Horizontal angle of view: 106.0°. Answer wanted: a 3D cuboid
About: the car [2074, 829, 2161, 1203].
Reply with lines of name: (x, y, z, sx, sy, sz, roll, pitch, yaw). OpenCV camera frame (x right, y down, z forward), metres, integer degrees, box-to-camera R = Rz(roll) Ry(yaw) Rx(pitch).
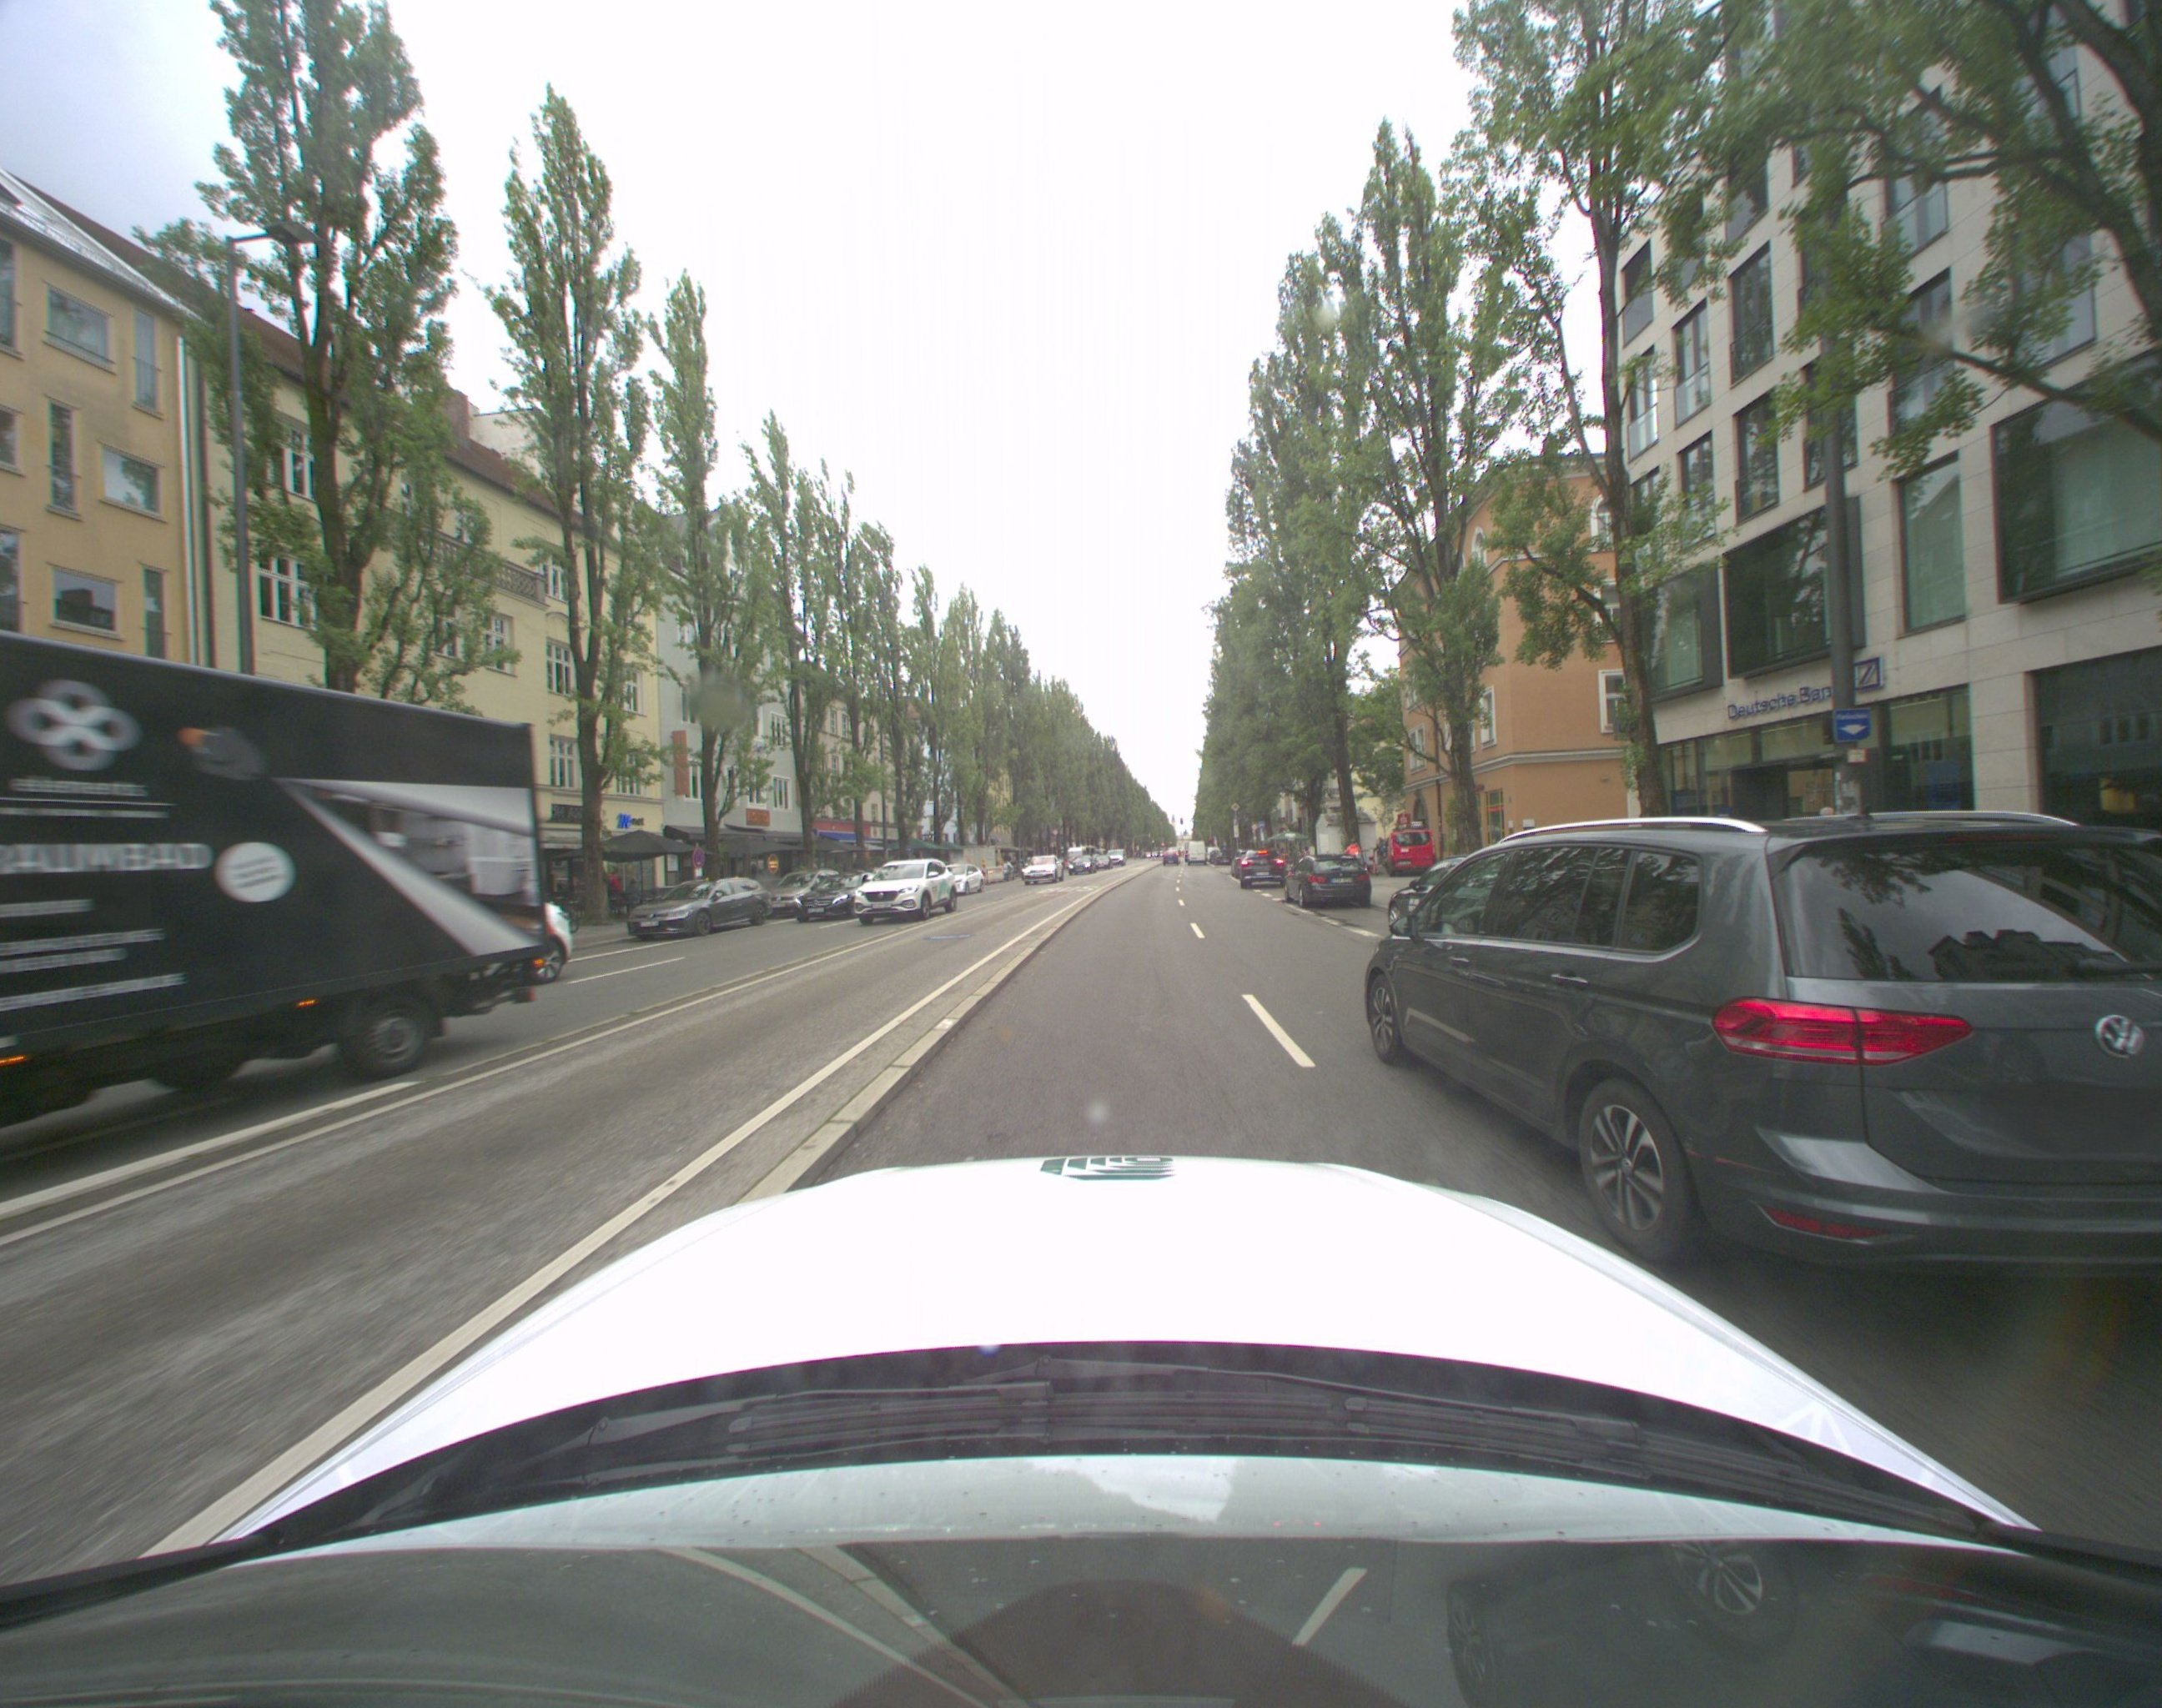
car: (5.106, 0.617, 1.085, 1.803, 1.500, 4.810, -3, 0, 3)

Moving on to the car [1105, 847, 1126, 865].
car: (4.033, 0.227, 94.758, 1.983, 1.934, 4.927, -4, -1, 7)

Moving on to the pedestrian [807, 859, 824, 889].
pedestrian: (-15.812, 1.180, 48.532, 0.635, 1.700, 0.649, -3, 0, 7)

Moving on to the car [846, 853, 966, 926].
car: (-4.834, 0.918, 23.205, 1.850, 1.711, 4.545, -4, 0, 7)

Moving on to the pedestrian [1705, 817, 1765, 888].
pedestrian: (15.557, -0.043, 19.396, 0.731, 1.621, 0.840, -3, 0, 9)

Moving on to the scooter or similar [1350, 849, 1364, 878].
scooter or similar: (12.491, 0.425, 36.851, 0.520, 1.232, 1.484, -5, -1, 20)

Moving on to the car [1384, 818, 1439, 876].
car: (14.631, -0.334, 36.283, 1.885, 2.328, 4.848, -3, 0, 19)

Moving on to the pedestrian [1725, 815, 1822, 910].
pedestrian: (12.163, 0.143, 14.331, 0.832, 1.576, 0.938, -3, 0, -1)

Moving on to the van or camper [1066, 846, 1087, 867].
van or camper: (-0.500, 0.266, 99.343, 1.983, 2.458, 4.259, -2, 0, 7)

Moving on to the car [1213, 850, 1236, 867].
car: (13.873, 0.429, 78.977, 1.934, 1.467, 4.007, -3, 0, 6)

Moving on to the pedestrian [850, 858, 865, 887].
pedestrian: (-14.695, 1.209, 53.533, 0.635, 1.862, 0.649, -3, 0, 7)

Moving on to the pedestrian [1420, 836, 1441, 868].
pedestrian: (18.451, -0.100, 43.008, 0.816, 1.613, 0.781, -3, 0, 9)

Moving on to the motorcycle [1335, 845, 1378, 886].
motorcycle: (9.956, 0.406, 29.500, 0.823, 1.370, 2.255, -3, 0, 3)

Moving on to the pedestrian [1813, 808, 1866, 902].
pedestrian: (13.568, 0.011, 14.579, 0.544, 1.638, 0.562, -3, 0, 31)

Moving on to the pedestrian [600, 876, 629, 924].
pedestrian: (-17.575, 1.719, 30.703, 0.536, 1.747, 0.756, -2, 0, 7)

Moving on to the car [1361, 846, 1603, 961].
car: (5.965, 0.637, 12.801, 1.839, 1.428, 4.430, -2, 0, 4)

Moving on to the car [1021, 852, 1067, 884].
car: (-2.122, 0.790, 47.890, 1.929, 1.642, 4.472, -3, 0, 6)

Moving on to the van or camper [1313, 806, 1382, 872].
van or camper: (13.695, -0.746, 42.185, 2.446, 3.112, 4.726, -3, 0, 8)

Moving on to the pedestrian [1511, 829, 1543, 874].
pedestrian: (16.099, -0.090, 29.398, 0.607, 1.551, 0.710, -4, 0, -21)

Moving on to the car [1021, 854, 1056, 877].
car: (-3.146, 0.824, 60.941, 1.839, 1.564, 4.220, -3, -1, 7)

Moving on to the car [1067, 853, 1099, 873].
car: (0.191, 0.700, 66.047, 1.983, 1.432, 4.781, -4, 0, 7)

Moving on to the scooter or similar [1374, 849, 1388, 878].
scooter or similar: (13.420, 0.403, 36.384, 0.482, 1.232, 1.173, -5, -1, 20)

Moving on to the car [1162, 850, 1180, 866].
car: (9.750, 0.412, 88.131, 1.750, 1.619, 3.754, -1, -1, 7)

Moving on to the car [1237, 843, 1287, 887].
car: (7.682, 0.422, 34.473, 1.867, 1.642, 4.600, -3, 0, 13)

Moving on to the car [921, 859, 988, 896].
car: (-5.928, 1.069, 38.729, 1.929, 1.493, 4.465, -3, 0, 6)

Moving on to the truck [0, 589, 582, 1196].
truck: (-6.974, 0.251, 5.289, 2.279, 3.322, 7.169, -4, 0, 6)

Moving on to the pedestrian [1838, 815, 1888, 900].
pedestrian: (14.181, 0.059, 14.775, 0.497, 1.491, 0.551, -3, 0, 31)

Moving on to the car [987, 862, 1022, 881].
car: (-5.623, 1.272, 60.172, 1.800, 1.250, 3.707, -2, 0, 6)

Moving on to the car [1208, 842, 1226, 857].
car: (15.622, -0.520, 93.795, 1.795, 1.596, 4.008, -1, -1, 7)

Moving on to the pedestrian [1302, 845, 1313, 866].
pedestrian: (18.503, 0.131, 66.569, 0.662, 1.650, 0.630, -3, 0, 34)

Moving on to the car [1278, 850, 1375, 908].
car: (6.798, 0.627, 23.011, 1.725, 1.394, 4.439, -3, 0, 5)

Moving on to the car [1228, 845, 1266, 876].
car: (9.240, 0.329, 45.559, 1.615, 1.565, 4.379, -3, 0, 6)

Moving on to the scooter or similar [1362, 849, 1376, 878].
scooter or similar: (12.956, 0.409, 36.623, 0.482, 1.232, 1.413, -5, -1, 20)

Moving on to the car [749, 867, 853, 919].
car: (-9.749, 1.311, 28.716, 1.795, 1.519, 4.009, -3, 0, 7)

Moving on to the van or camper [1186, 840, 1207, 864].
van or camper: (12.420, -0.176, 87.766, 2.024, 2.475, 4.007, -2, -1, 7)

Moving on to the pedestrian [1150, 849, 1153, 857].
pedestrian: (14.943, -0.151, 172.880, 0.550, 1.716, 0.494, -3, 0, 8)

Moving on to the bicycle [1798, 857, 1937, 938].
bicycle: (10.438, 0.546, 10.884, 0.430, 0.940, 1.768, -3, 0, 12)

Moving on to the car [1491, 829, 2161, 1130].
car: (5.432, 0.624, 6.525, 1.923, 1.450, 4.805, -3, 0, 1)

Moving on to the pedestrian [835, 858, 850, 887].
pedestrian: (-15.635, 1.233, 53.469, 0.635, 1.862, 0.649, -3, 0, 7)

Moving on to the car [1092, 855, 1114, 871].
car: (2.099, 0.838, 77.984, 1.703, 1.414, 3.730, -3, 0, 6)

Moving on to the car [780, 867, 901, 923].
car: (-7.578, 1.245, 26.188, 1.929, 1.434, 4.548, -3, 0, 8)

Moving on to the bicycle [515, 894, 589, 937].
bicycle: (-14.921, 1.742, 22.951, 2.107, 1.101, 0.507, -3, 0, 20)

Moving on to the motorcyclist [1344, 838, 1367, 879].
motorcyclist: (9.978, 0.160, 29.616, 0.561, 1.406, 0.767, -3, 0, 3)

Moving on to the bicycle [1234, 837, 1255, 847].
bicycle: (18.840, -1.405, 93.790, 0.763, 1.023, 2.709, -3, 0, -28)

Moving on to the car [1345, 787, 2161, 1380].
car: (2.903, 0.626, 4.334, 1.754, 1.613, 4.186, -2, 0, 2)

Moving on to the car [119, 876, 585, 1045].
car: (-9.633, 1.272, 11.467, 1.983, 1.651, 4.645, -4, 0, 7)

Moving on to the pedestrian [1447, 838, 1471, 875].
pedestrian: (17.149, 0.106, 36.944, 0.725, 1.626, 0.807, -3, 0, 10)

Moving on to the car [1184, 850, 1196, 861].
car: (14.534, 0.162, 108.914, 1.496, 1.313, 3.289, -2, 0, 7)

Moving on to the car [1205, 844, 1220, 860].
car: (17.878, -0.246, 111.093, 1.795, 1.992, 4.008, -1, -1, 7)

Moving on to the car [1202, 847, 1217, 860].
car: (16.591, -0.052, 105.149, 1.753, 1.596, 4.008, -1, -1, 7)

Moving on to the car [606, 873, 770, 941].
car: (-10.664, 1.385, 22.532, 1.928, 1.493, 4.305, -3, 0, 8)

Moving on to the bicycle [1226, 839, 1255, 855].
bicycle: (20.348, -0.871, 103.959, 3.522, 2.014, 1.302, -1, -1, 16)

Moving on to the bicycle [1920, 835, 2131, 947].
bicycle: (11.131, 0.398, 9.691, 0.453, 1.188, 1.715, -3, 0, 0)

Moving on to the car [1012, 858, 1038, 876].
car: (-4.622, 1.028, 67.010, 1.504, 1.344, 3.243, -3, 0, 6)
